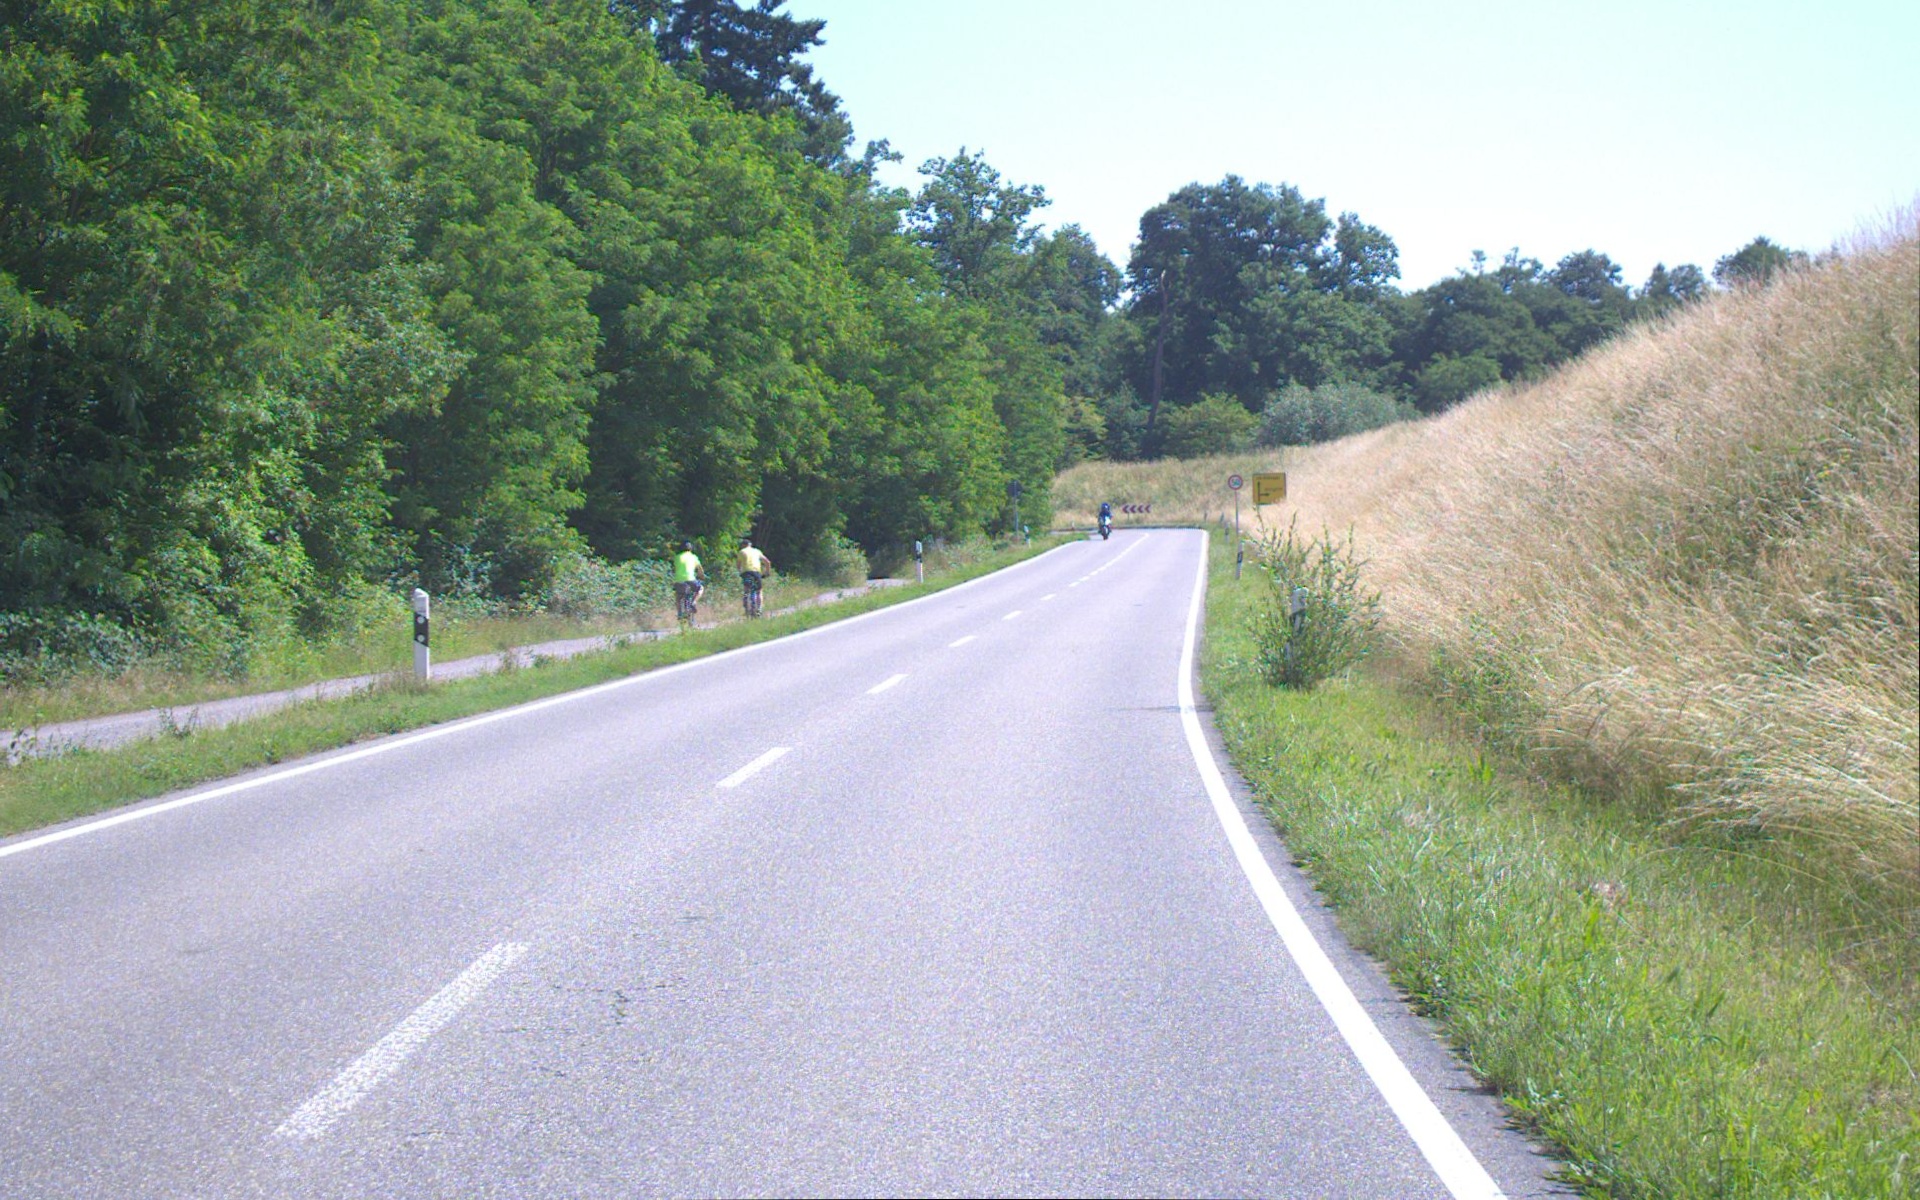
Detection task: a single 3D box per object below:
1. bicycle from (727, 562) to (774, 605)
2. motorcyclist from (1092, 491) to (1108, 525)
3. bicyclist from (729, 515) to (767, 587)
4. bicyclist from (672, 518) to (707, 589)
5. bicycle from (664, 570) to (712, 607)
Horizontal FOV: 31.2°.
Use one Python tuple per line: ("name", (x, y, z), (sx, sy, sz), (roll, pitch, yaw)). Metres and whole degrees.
("bicycle", (-4.206, -0.342, 69.074), (0.640, 0.785, 2.136), (-2, 1, 4))
("motorcyclist", (6.526, -4.297, 160.310), (0.659, 1.523, 0.814), (-3, 1, 3))
("bicyclist", (-4.246, -0.992, 69.001), (0.605, 1.410, 0.702), (-2, 1, 4))
("bicyclist", (-5.463, -0.944, 69.469), (0.605, 1.411, 0.702), (1, 0, 4))
("bicycle", (-5.482, -0.238, 69.390), (0.619, 0.679, 2.136), (-2, 1, 4))
